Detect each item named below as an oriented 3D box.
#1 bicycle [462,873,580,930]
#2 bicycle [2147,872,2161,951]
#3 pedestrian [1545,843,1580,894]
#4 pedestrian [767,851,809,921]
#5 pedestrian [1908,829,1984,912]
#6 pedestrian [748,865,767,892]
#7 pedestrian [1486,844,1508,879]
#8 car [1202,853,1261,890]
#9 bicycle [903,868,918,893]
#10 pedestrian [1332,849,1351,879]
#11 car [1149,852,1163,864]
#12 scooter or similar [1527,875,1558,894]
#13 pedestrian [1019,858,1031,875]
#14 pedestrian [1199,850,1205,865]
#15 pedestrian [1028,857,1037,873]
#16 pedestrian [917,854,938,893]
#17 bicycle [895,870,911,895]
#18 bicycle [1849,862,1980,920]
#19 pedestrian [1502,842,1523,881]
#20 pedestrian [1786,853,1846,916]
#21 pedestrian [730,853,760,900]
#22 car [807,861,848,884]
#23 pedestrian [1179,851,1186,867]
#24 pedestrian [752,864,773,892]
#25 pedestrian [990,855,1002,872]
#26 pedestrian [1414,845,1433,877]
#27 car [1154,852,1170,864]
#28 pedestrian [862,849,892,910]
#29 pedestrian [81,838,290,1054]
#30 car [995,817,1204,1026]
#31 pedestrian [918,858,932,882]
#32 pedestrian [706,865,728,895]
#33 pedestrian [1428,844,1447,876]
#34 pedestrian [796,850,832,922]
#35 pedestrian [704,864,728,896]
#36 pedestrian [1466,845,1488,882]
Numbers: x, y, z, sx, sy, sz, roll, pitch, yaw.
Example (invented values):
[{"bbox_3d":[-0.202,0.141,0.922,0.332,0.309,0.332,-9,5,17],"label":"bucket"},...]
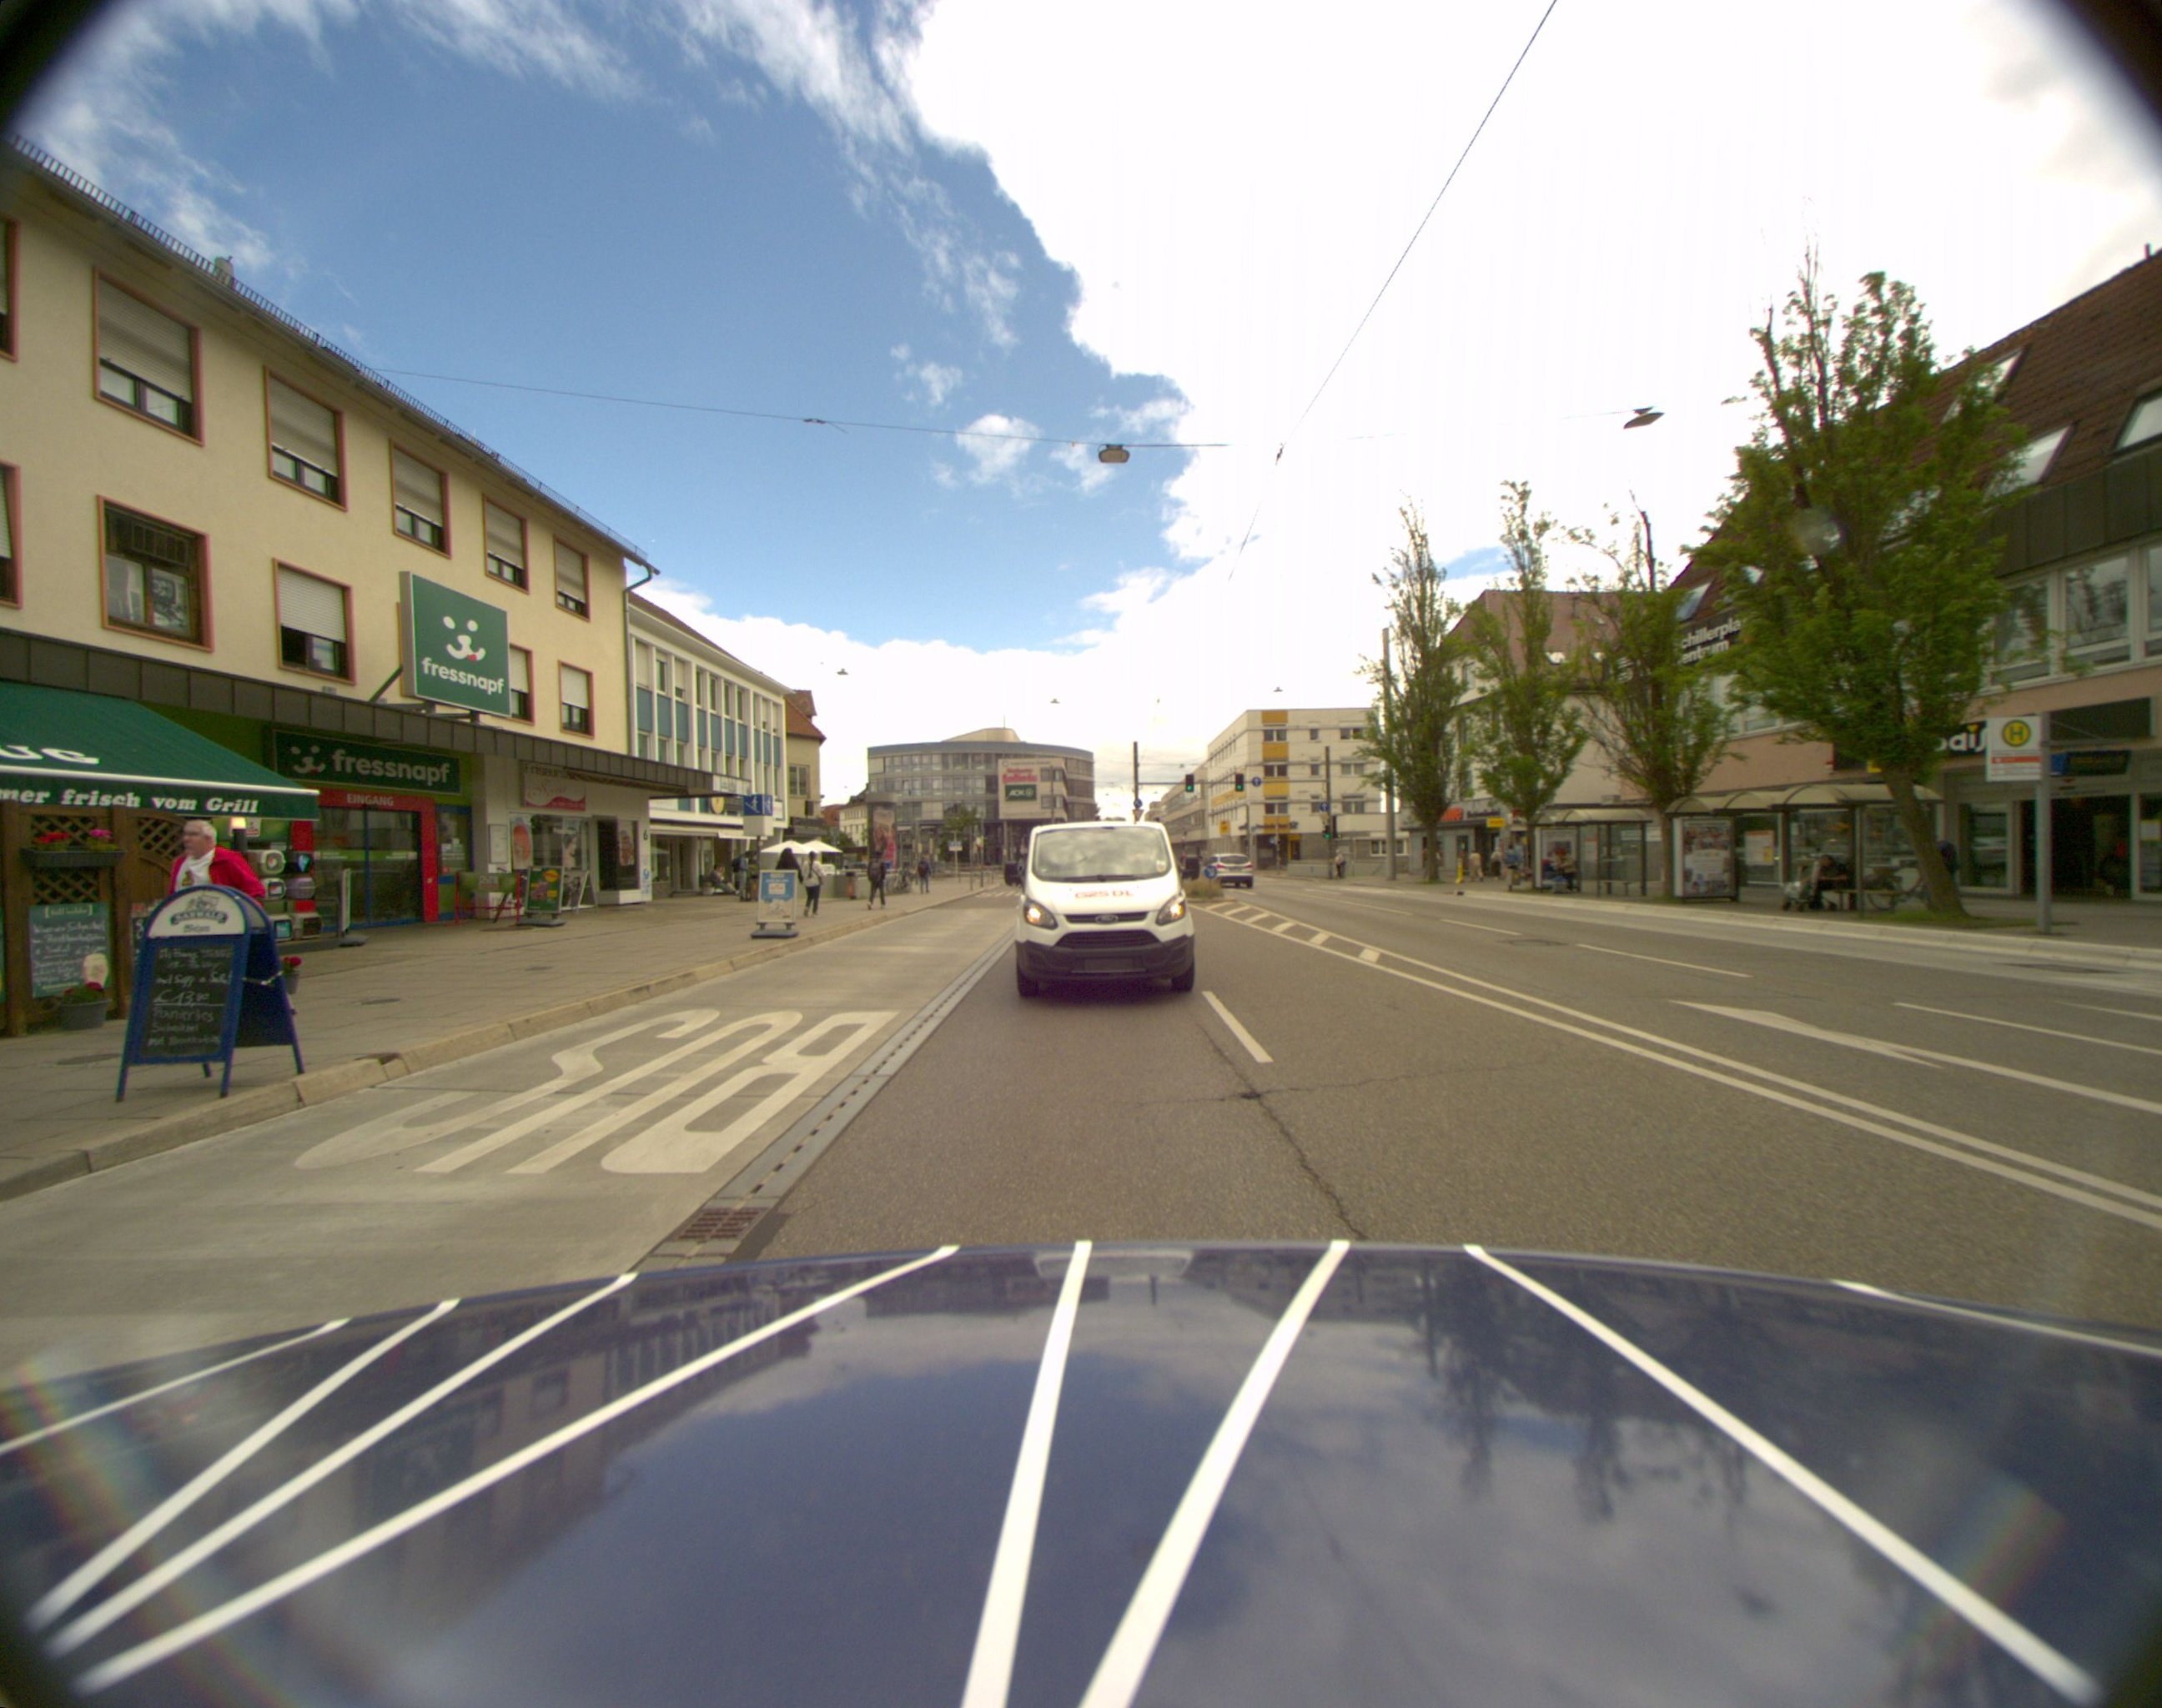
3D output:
[{"bbox_3d":[-11.648,0.946,15.926,0.743,1.056,2.351,0,0,-1],"label":"bicycle"},{"bbox_3d":[15.999,0.770,10.557,2.025,1.084,0.648,-2,1,-13],"label":"bicycle"},{"bbox_3d":[15.907,0.491,25.110,0.588,1.642,0.713,-2,0,-17],"label":"pedestrian"},{"bbox_3d":[-6.899,0.741,17.909,0.720,1.625,0.615,0,1,-2],"label":"pedestrian"},{"bbox_3d":[19.208,0.368,16.889,0.727,1.753,0.755,-4,0,-1],"label":"pedestrian"},{"bbox_3d":[-14.346,1.079,33.688,0.614,1.213,0.588,0,0,-1],"label":"pedestrian"},{"bbox_3d":[19.728,0.364,36.033,0.587,1.625,0.615,-4,0,-1],"label":"pedestrian"},{"bbox_3d":[6.575,0.737,33.617,1.879,1.497,4.343,0,1,2],"label":"car"},{"bbox_3d":[-7.391,1.138,32.915,0.274,1.047,1.387,-1,0,2],"label":"bicycle"},{"bbox_3d":[14.845,0.578,43.232,0.702,1.625,0.614,-4,0,-10],"label":"pedestrian"},{"bbox_3d":[13.399,0.726,136.344,1.999,2.002,4.486,-2,0,-1],"label":"car"},{"bbox_3d":[15.290,1.009,25.209,0.593,0.598,0.702,-1,0,0],"label":"scooter or similar"},{"bbox_3d":[-5.556,1.202,74.961,0.808,1.637,0.886,-2,0,-33],"label":"pedestrian"},{"bbox_3d":[15.120,0.469,94.716,0.587,1.792,0.526,-4,0,1],"label":"pedestrian"},{"bbox_3d":[-4.986,1.110,77.559,0.589,1.625,0.525,-4,0,-45],"label":"pedestrian"},{"bbox_3d":[-6.487,0.829,32.183,0.689,1.625,0.853,-1,0,0],"label":"pedestrian"},{"bbox_3d":[-7.364,1.167,31.422,0.274,0.968,1.387,-1,0,2],"label":"bicycle"},{"bbox_3d":[17.012,0.721,15.584,0.535,1.084,1.930,-2,0,-1],"label":"bicycle"},{"bbox_3d":[19.296,0.335,34.007,0.587,1.702,0.615,-1,1,-1],"label":"pedestrian"},{"bbox_3d":[16.202,0.665,16.765,0.713,1.356,0.588,-2,0,3],"label":"pedestrian"},{"bbox_3d":[-11.841,0.793,26.780,0.668,1.625,0.800,-1,0,-2],"label":"pedestrian"},{"bbox_3d":[-22.508,1.663,67.368,1.884,1.884,4.914,-2,0,-38],"label":"car"},{"bbox_3d":[12.030,0.591,90.063,0.587,1.792,0.526,-4,0,1],"label":"pedestrian"},{"bbox_3d":[-14.388,1.081,34.318,0.614,1.213,0.588,-4,0,-2],"label":"pedestrian"},{"bbox_3d":[-8.447,0.976,75.621,0.847,1.625,0.644,-4,0,-32],"label":"pedestrian"},{"bbox_3d":[17.561,0.365,38.954,0.587,1.625,0.615,-4,0,-1],"label":"pedestrian"},{"bbox_3d":[13.841,0.707,130.149,1.999,2.002,4.486,-2,0,-1],"label":"car"},{"bbox_3d":[-5.698,0.711,21.225,0.613,1.668,0.615,-1,0,3],"label":"pedestrian"},{"bbox_3d":[-7.578,0.735,6.483,0.797,1.732,0.781,1,2,-5],"label":"pedestrian"},{"bbox_3d":[0.350,0.678,9.996,1.998,2.002,5.001,-2,0,4],"label":"car"},{"bbox_3d":[-10.647,1.109,51.752,0.589,1.613,0.743,-4,0,-31],"label":"pedestrian"},{"bbox_3d":[-15.113,1.081,31.537,0.614,1.213,0.588,-2,0,-1],"label":"pedestrian"},{"bbox_3d":[19.232,0.329,40.995,0.587,1.702,0.615,-4,0,-1],"label":"pedestrian"},{"bbox_3d":[-6.209,0.735,17.709,0.614,1.625,0.615,0,1,-2],"label":"pedestrian"},{"bbox_3d":[-14.794,1.048,30.828,0.614,1.213,0.588,-4,0,-2],"label":"pedestrian"},{"bbox_3d":[18.020,0.425,34.600,0.587,1.625,0.615,-4,0,-1],"label":"pedestrian"}]
